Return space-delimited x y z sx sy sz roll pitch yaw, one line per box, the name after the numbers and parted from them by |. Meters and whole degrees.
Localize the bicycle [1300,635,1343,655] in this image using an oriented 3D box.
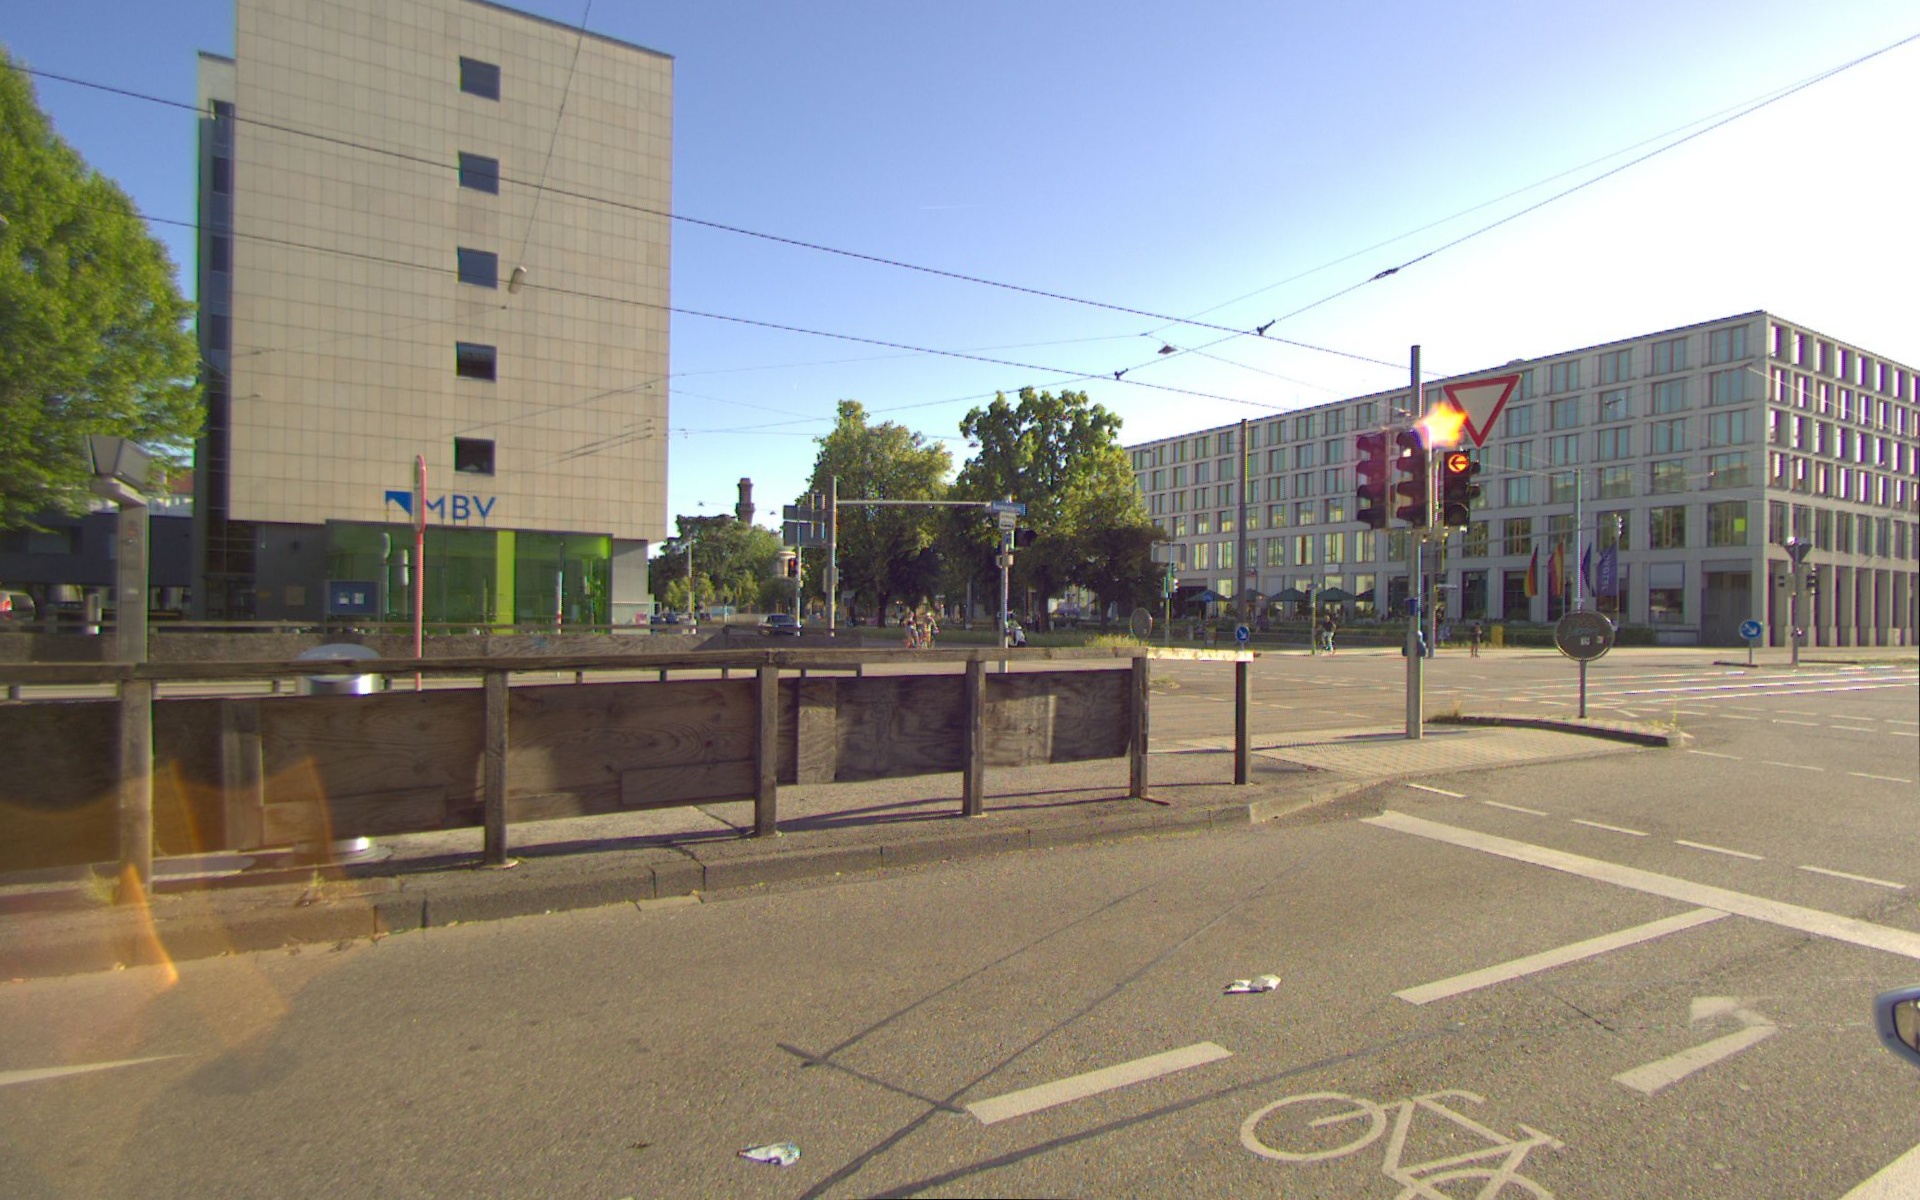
17.740 2.187 49.318 1.829 0.947 0.762 1 -1 -7 | bicycle

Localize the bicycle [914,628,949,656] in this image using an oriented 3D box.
-1.201 1.750 42.201 0.616 1.148 1.869 1 -1 -31 | bicycle

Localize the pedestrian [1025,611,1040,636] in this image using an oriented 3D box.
5.758 1.854 79.537 0.864 1.925 0.712 2 0 -29 | pedestrian

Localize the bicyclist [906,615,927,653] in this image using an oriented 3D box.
-1.812 1.397 41.688 0.647 1.544 0.615 1 -1 -32 | bicyclist

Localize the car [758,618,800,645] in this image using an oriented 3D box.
-11.702 2.012 64.750 1.611 1.639 3.623 2 0 -28 | car

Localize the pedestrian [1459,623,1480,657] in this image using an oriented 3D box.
24.903 1.957 49.123 0.767 1.610 0.587 0 -1 44 | pedestrian

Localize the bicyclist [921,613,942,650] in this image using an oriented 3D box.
-1.210 1.338 42.242 0.602 1.544 0.709 1 -1 -32 | bicyclist

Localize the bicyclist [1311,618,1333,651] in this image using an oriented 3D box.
17.797 1.697 49.360 0.763 1.610 0.761 1 -1 -6 | bicyclist

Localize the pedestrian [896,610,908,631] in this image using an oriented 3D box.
-5.797 2.044 100.031 0.814 2.040 0.839 2 0 -28 | pedestrian

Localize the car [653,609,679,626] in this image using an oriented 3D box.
-30.338 1.823 103.711 1.613 1.639 3.618 2 0 -32 | car

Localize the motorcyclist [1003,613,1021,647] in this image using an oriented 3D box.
2.459 1.401 47.462 0.561 1.598 0.643 1 -1 -33 | motorcyclist

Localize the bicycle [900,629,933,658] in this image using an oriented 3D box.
-1.833 1.793 41.712 0.574 1.148 1.776 1 -1 -31 | bicycle

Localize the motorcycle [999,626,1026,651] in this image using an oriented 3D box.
2.462 1.808 47.451 0.524 1.153 1.449 1 -1 -34 | motorcycle
